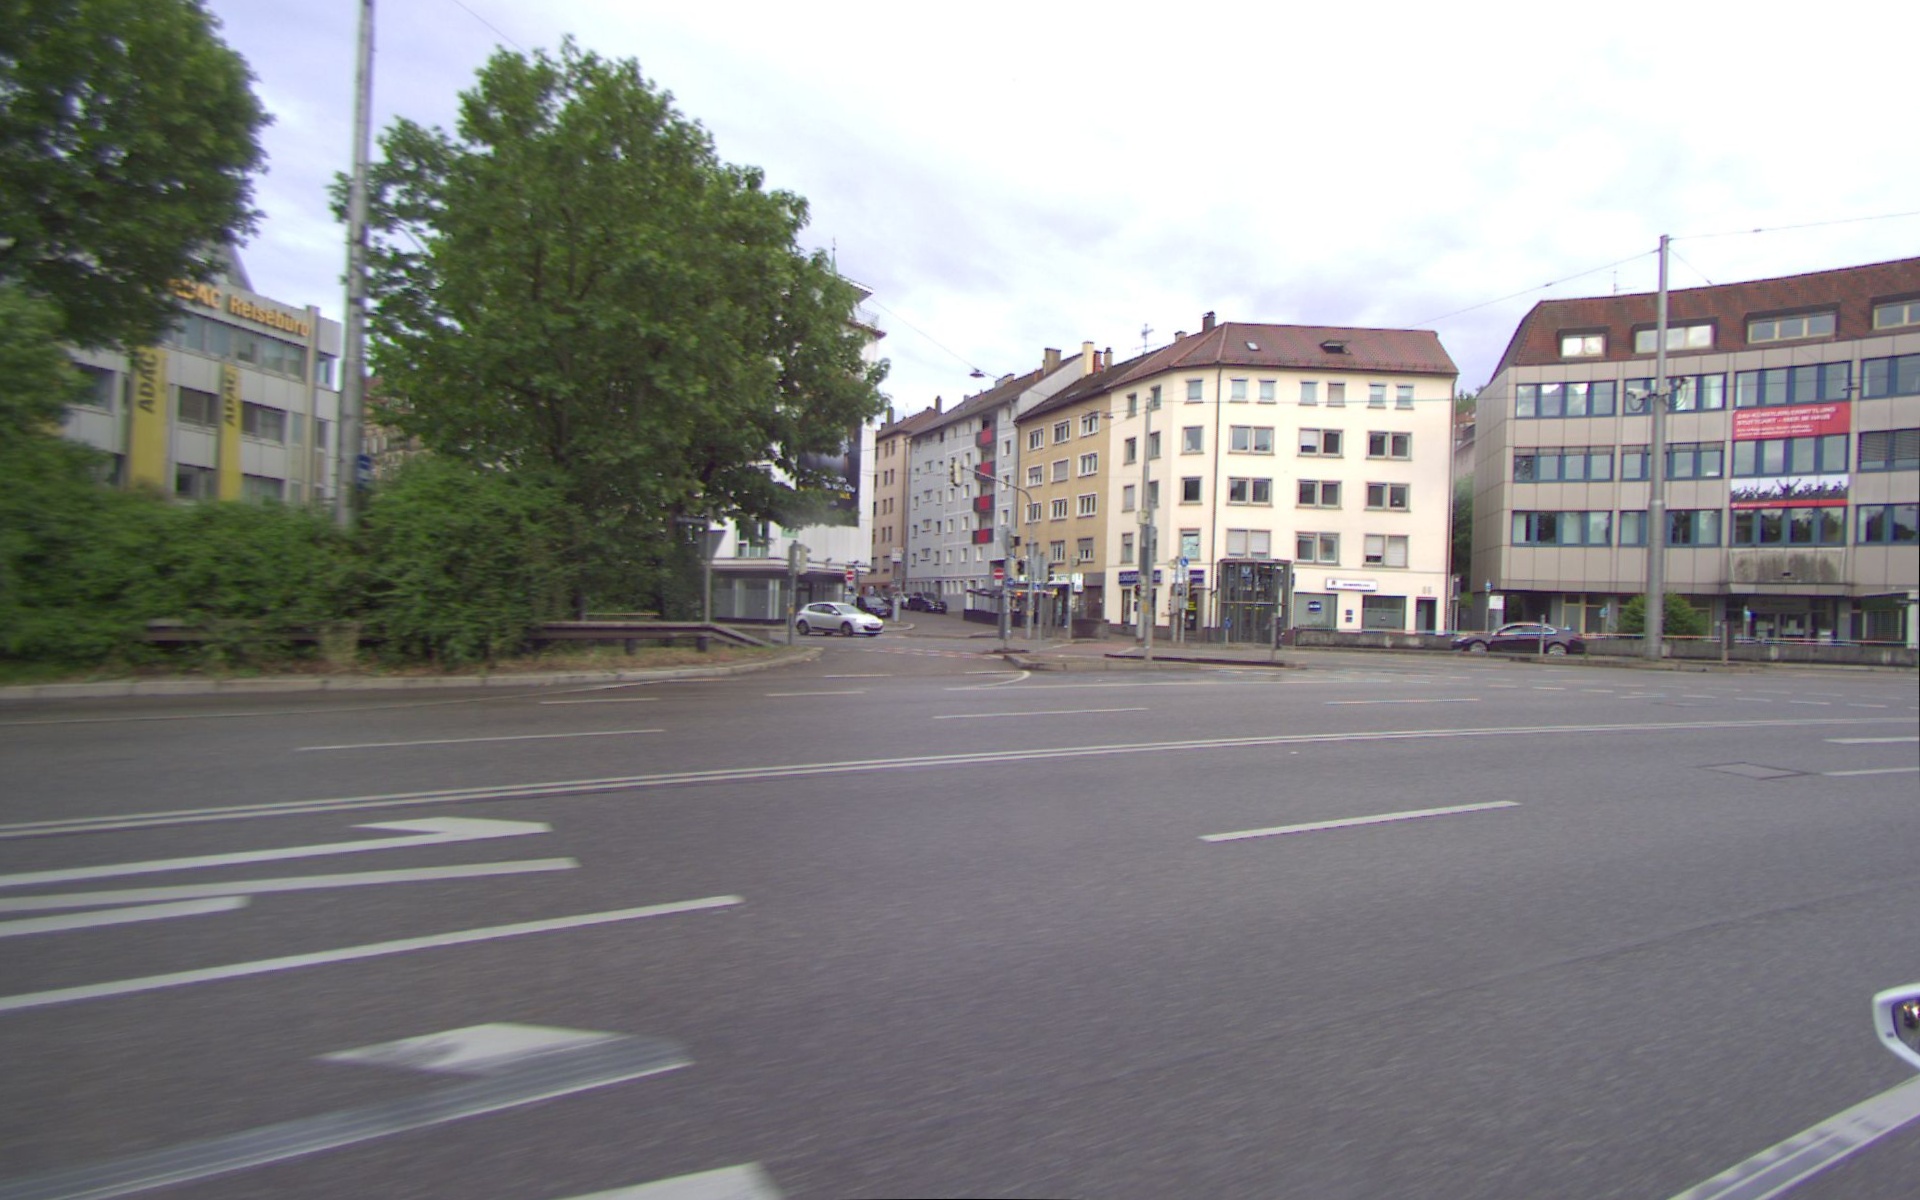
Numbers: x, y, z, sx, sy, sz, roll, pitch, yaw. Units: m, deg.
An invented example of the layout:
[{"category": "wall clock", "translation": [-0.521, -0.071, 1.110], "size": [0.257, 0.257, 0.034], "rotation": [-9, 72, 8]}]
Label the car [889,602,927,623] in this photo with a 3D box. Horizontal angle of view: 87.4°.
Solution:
[{"category": "car", "translation": [-4.537, 1.077, 86.974], "size": [1.893, 1.612, 3.975], "rotation": [2, 0, -25]}]

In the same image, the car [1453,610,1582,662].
[{"category": "car", "translation": [22.091, 1.419, 40.039], "size": [4.357, 1.867, 1.998], "rotation": [1, -1, 26]}]

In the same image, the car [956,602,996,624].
[{"category": "car", "translation": [1.193, 0.995, 76.323], "size": [1.735, 1.611, 3.778], "rotation": [2, -1, -21]}]

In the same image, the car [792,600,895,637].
[{"category": "car", "translation": [-5.075, 0.796, 43.495], "size": [4.160, 1.470, 1.994], "rotation": [1, -2, 36]}]

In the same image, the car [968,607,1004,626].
[{"category": "car", "translation": [1.787, 1.144, 70.110], "size": [1.384, 1.246, 3.148], "rotation": [2, -1, -21]}]

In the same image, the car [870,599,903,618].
[{"category": "car", "translation": [-6.716, 0.767, 91.284], "size": [1.890, 1.612, 3.980], "rotation": [2, 0, -21]}]

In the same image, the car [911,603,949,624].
[{"category": "car", "translation": [-2.465, 1.108, 81.866], "size": [1.890, 1.611, 3.980], "rotation": [2, -2, -21]}]

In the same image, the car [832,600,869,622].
[{"category": "car", "translation": [-8.782, 0.875, 80.344], "size": [1.890, 1.611, 3.980], "rotation": [2, -1, -21]}]

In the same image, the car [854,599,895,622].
[{"category": "car", "translation": [-6.376, 0.812, 74.588], "size": [1.890, 1.611, 3.980], "rotation": [2, -1, -21]}]
